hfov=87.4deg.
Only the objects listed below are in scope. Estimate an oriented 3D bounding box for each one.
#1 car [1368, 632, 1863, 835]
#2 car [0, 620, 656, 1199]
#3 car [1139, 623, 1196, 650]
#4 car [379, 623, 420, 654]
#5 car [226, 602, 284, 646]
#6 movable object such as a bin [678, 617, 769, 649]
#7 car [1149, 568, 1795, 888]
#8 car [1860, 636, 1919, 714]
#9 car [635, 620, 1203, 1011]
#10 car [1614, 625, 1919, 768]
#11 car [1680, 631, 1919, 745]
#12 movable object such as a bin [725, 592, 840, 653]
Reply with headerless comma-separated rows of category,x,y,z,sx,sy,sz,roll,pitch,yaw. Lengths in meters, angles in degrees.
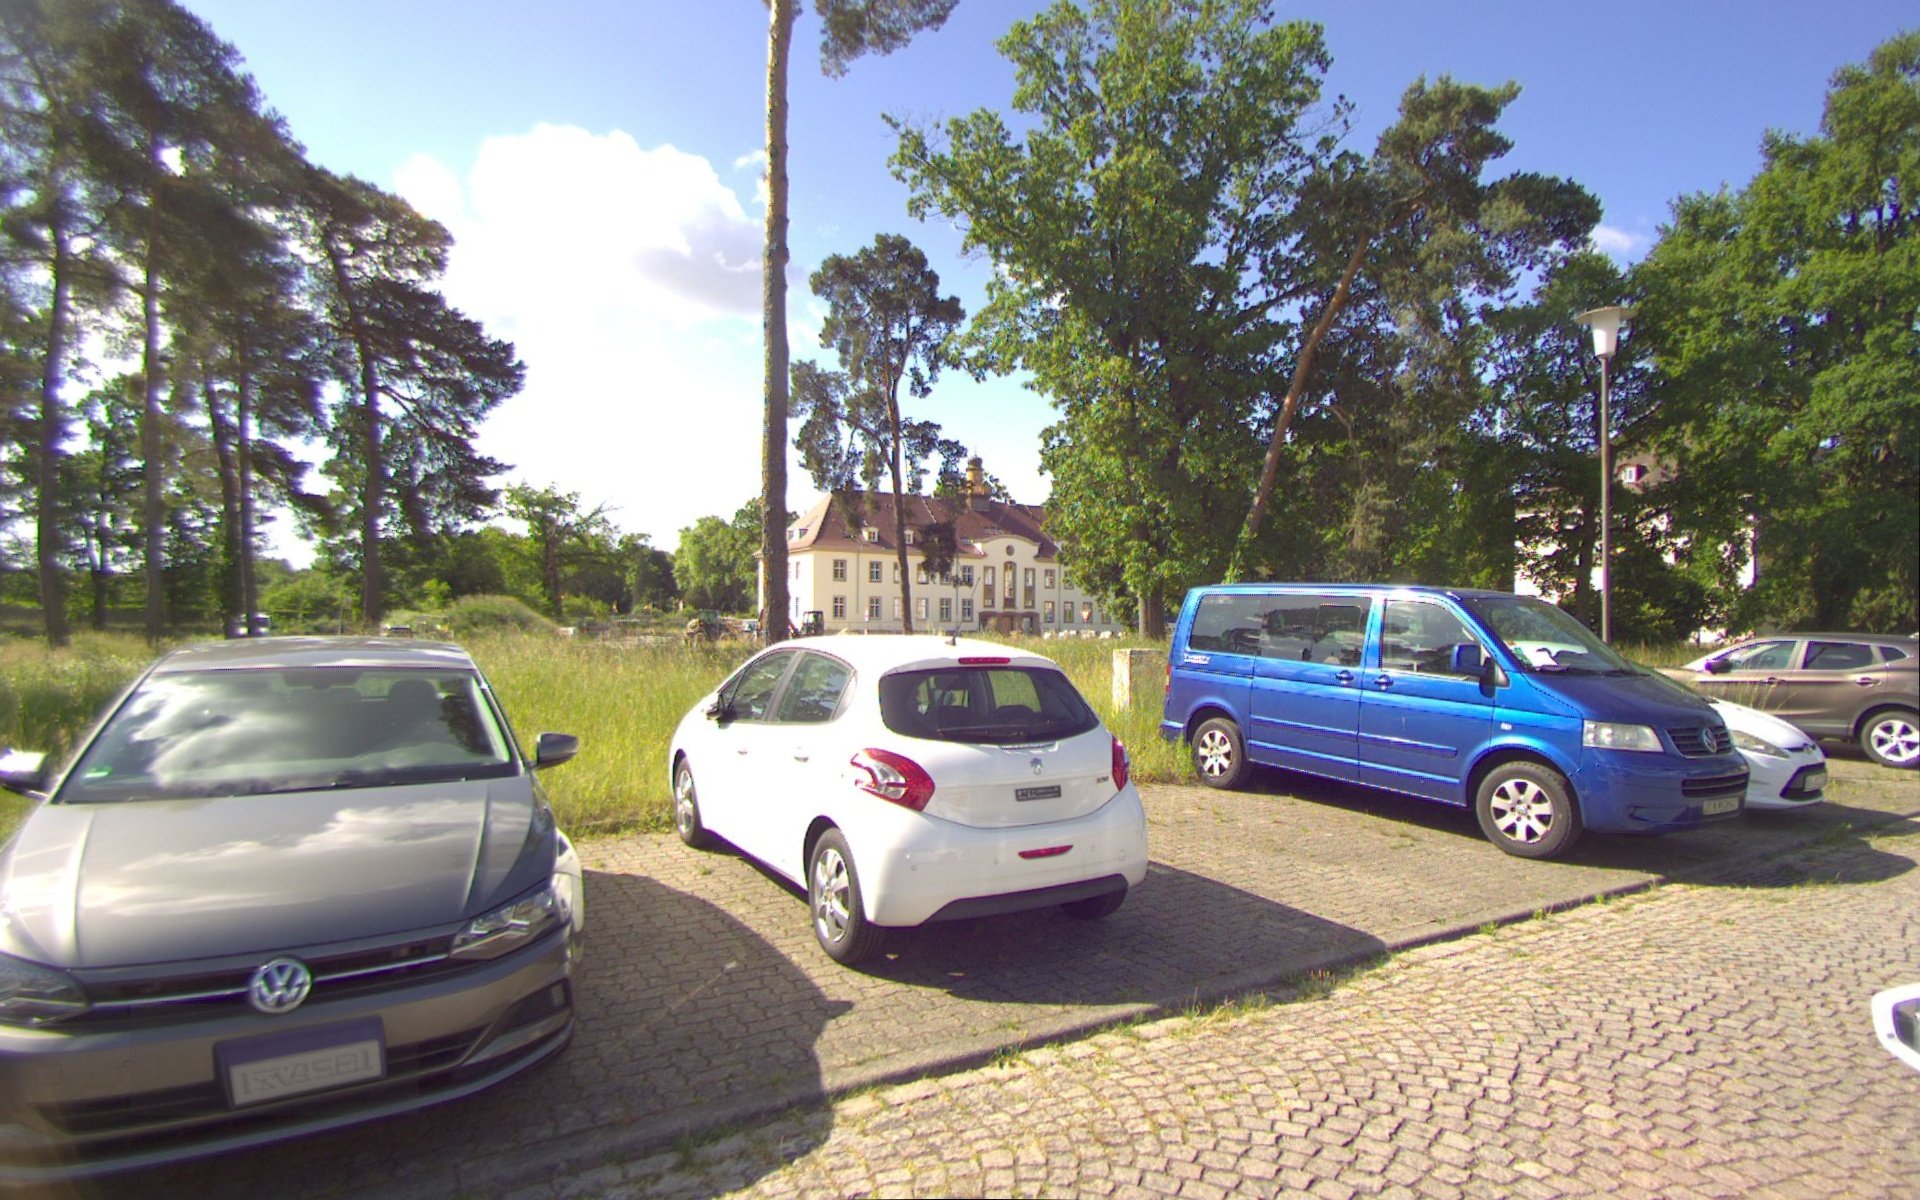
car,6.267,1.132,10.019,1.666,1.459,3.792,2,0,-34
car,-2.768,0.861,4.367,1.900,1.444,4.057,1,0,-30
car,19.228,3.381,92.917,5.216,2.468,1.974,2,-2,-31
car,-30.981,2.118,55.493,1.890,1.626,4.209,2,-2,-30
car,-36.332,1.259,51.882,1.934,2.192,4.824,2,-2,-30
movable object such as a bin,-16.322,2.264,69.498,5.565,2.153,2.530,0,-2,15
car,4.007,0.800,8.800,1.983,1.994,4.693,2,0,-31
car,19.993,1.489,19.153,1.822,1.480,3.901,1,0,-32
car,-0.629,0.927,6.345,1.803,1.495,4.174,1,0,-31
car,11.444,1.191,13.564,1.952,1.589,3.931,1,0,-32
car,13.581,1.286,15.252,1.846,1.468,3.901,1,0,-32
movable object such as a bin,-11.629,1.550,66.344,3.865,3.780,6.771,-1,-2,34
